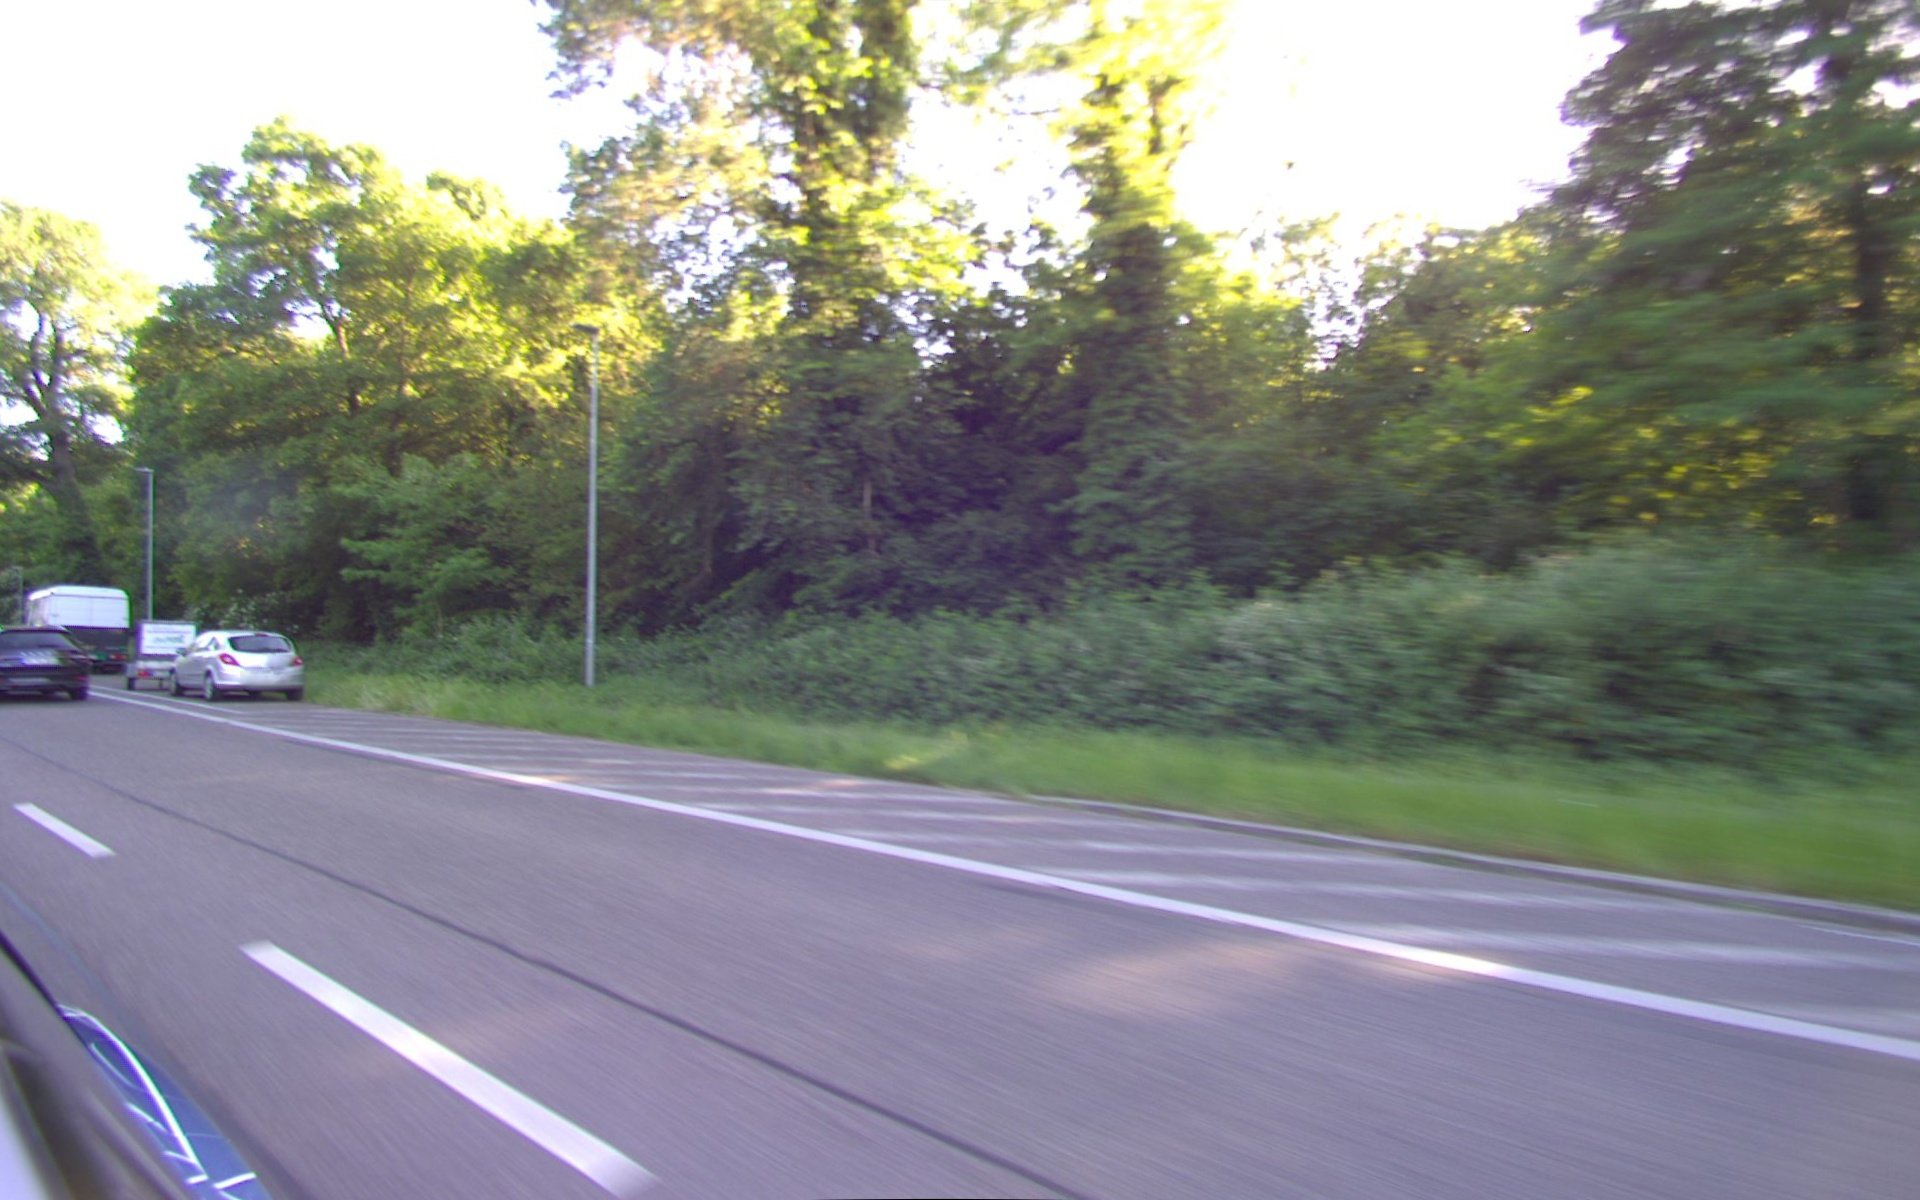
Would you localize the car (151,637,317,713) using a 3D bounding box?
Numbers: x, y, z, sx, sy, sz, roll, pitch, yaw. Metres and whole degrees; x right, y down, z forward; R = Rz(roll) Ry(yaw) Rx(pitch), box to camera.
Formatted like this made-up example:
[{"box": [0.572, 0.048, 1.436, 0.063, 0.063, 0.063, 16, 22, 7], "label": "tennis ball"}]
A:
[{"box": [-15.862, 1.576, 22.057, 4.007, 1.475, 1.891, -1, -3, 39], "label": "car"}]

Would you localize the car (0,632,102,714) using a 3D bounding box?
[{"box": [-18.844, 1.389, 20.112, 4.352, 1.475, 1.891, -1, -3, 39], "label": "car"}]

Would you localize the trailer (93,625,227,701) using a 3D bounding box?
[{"box": [-19.921, 1.521, 25.159, 3.643, 1.743, 1.784, -1, -3, 39], "label": "trailer"}]

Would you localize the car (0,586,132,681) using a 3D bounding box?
[{"box": [-29.213, 1.113, 32.980, 4.793, 2.869, 2.430, -1, -3, 39], "label": "car"}]
